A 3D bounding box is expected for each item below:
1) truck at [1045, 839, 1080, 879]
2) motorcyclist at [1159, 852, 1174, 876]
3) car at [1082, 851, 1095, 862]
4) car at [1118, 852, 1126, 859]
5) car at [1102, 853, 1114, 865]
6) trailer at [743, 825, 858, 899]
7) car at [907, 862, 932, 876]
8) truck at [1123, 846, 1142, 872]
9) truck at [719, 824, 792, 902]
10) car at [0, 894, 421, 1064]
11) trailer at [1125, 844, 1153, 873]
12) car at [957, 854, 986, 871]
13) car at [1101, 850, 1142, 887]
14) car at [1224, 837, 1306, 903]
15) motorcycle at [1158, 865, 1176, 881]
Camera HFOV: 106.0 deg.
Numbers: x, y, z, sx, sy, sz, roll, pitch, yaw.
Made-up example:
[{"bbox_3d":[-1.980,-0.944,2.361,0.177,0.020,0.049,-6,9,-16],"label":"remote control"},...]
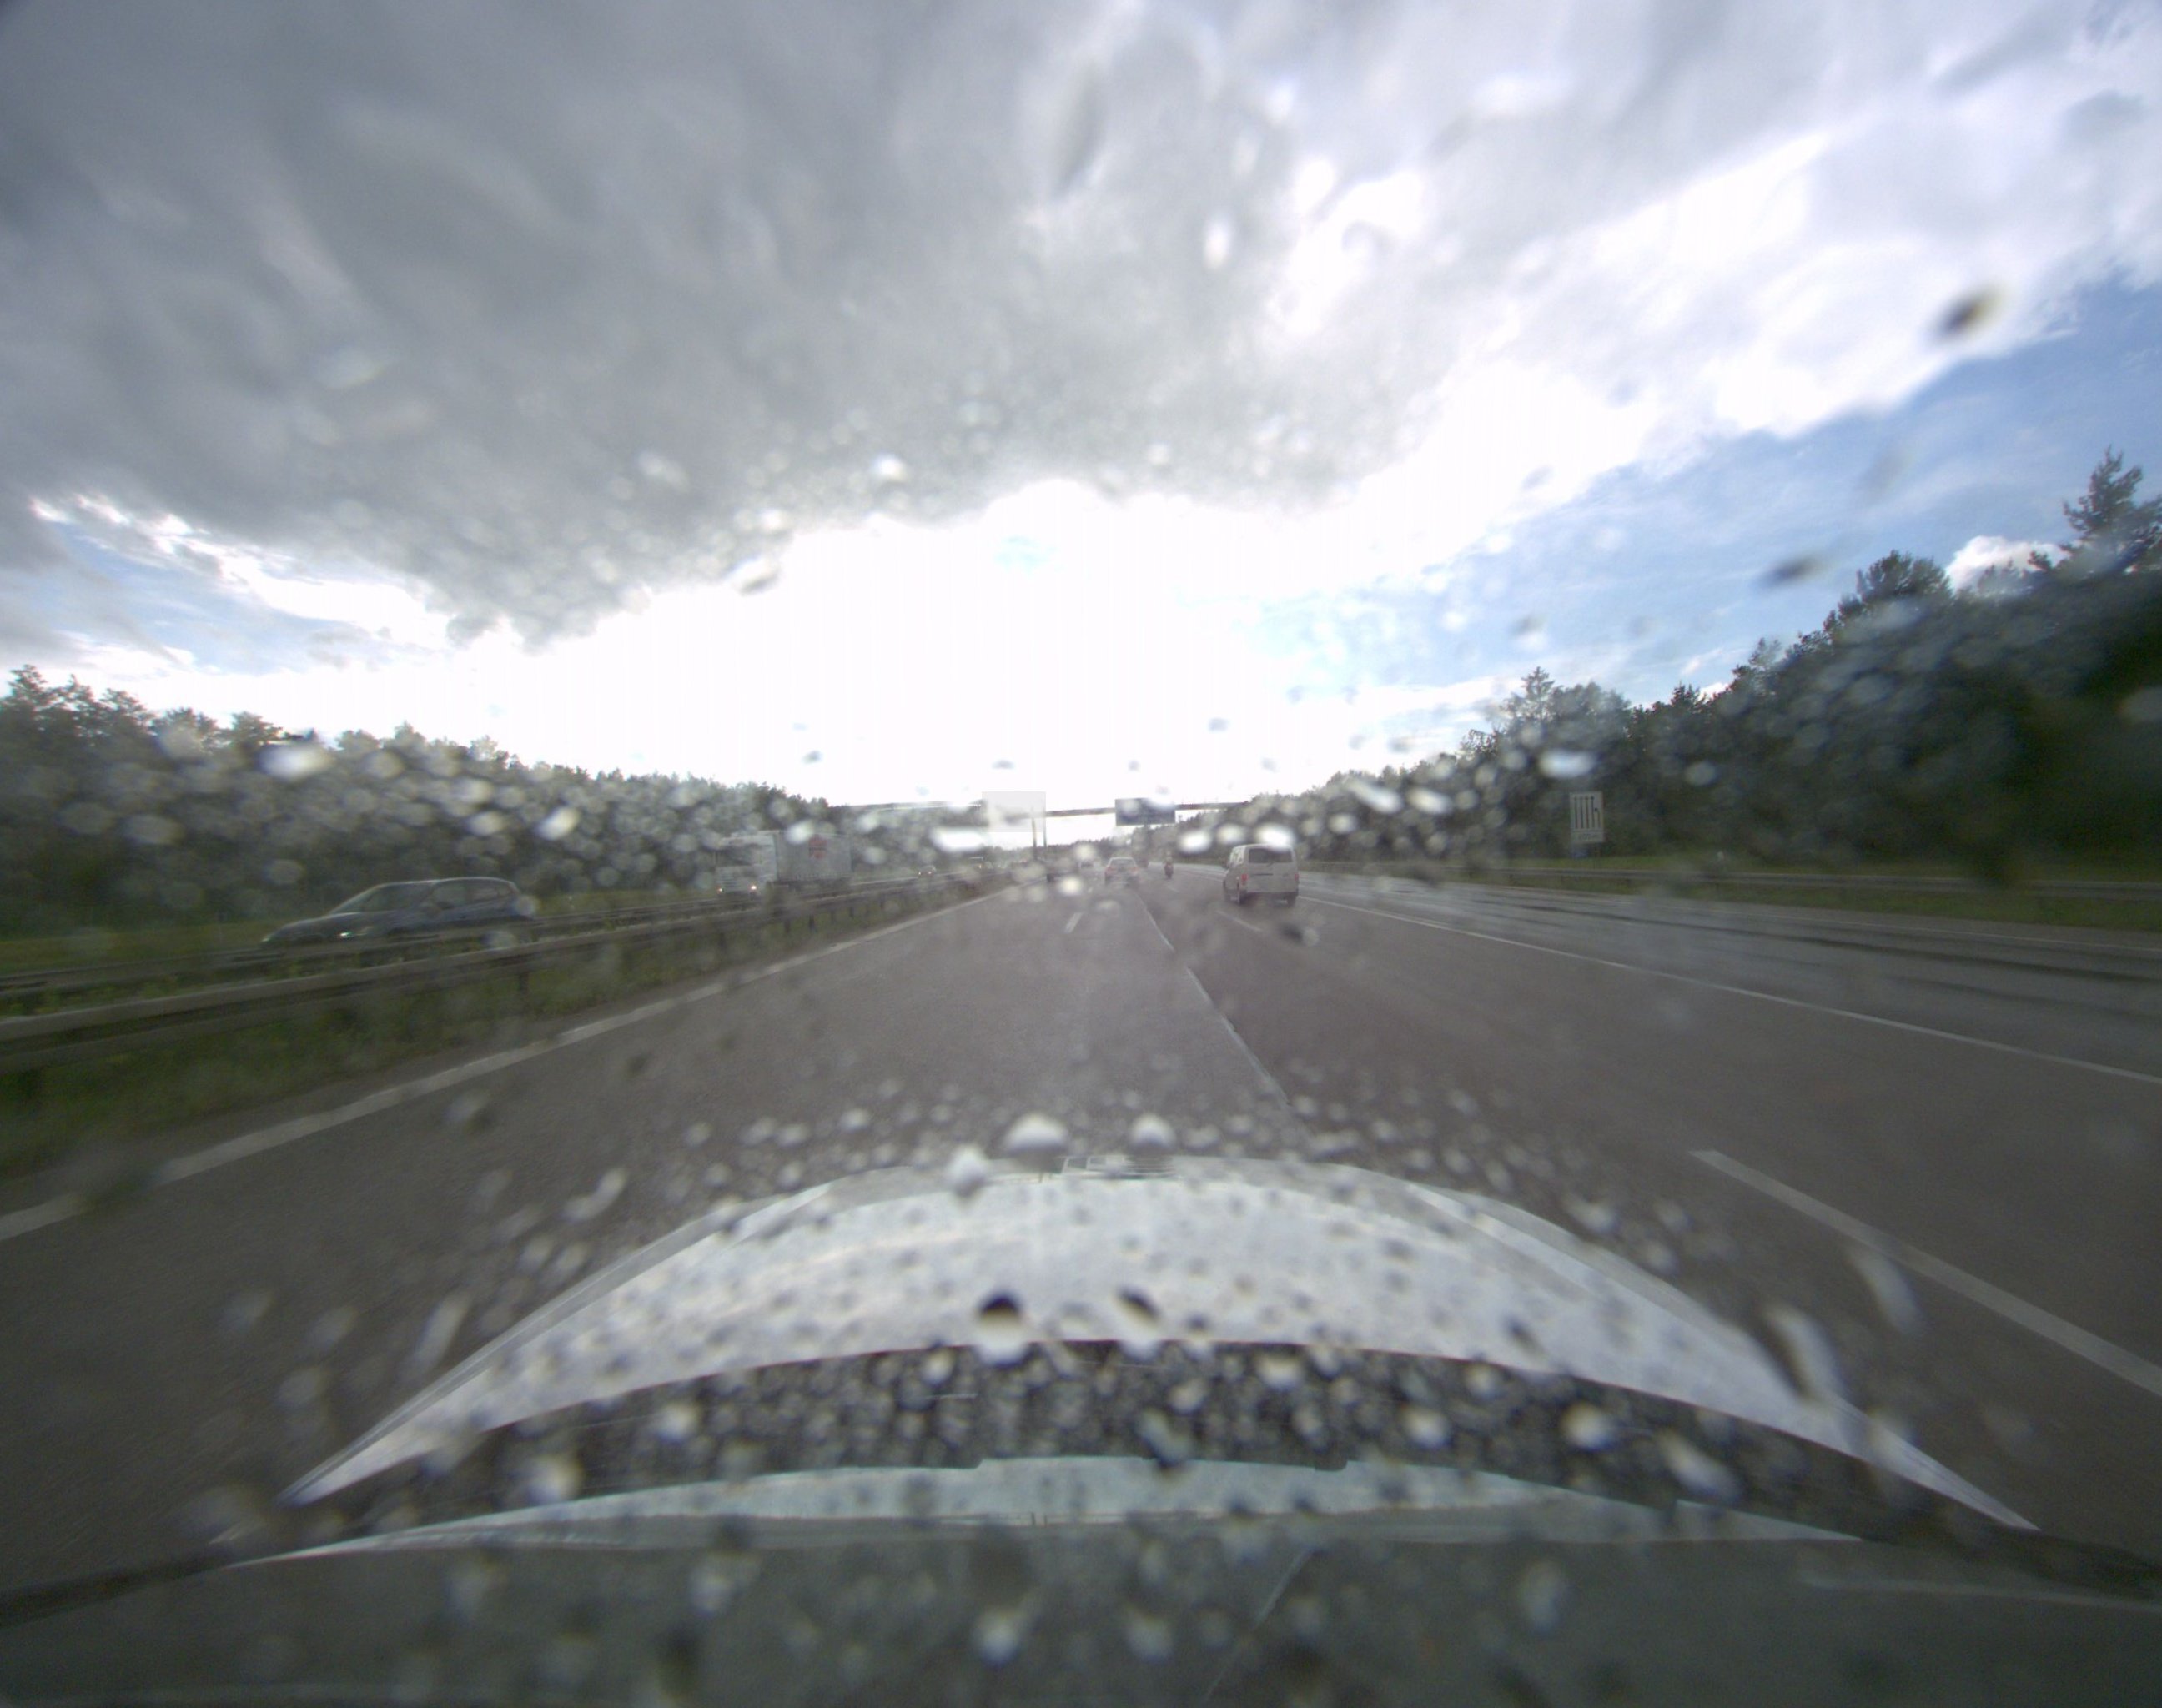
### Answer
[{"bbox_3d":[-1.209,0.315,53.682,2.131,2.489,5.310,-1,0,-1],"label":"truck"},{"bbox_3d":[5.831,0.690,55.395,0.888,1.615,0.959,-1,-1,0],"label":"motorcyclist"},{"bbox_3d":[1.163,0.399,118.423,1.825,1.466,4.000,-1,0,1],"label":"car"},{"bbox_3d":[10.636,0.403,212.303,1.987,2.014,3.999,0,0,0],"label":"car"},{"bbox_3d":[4.559,0.899,137.762,1.902,2.014,3.999,-1,0,-1],"label":"car"},{"bbox_3d":[-18.198,0.522,54.283,2.089,4.241,14.632,0,0,2],"label":"trailer"},{"bbox_3d":[-17.722,1.616,89.587,1.666,1.459,4.562,-2,0,1],"label":"car"},{"bbox_3d":[8.058,0.776,128.627,2.289,3.868,5.384,-1,-1,-4],"label":"truck"},{"bbox_3d":[-18.479,0.484,46.504,2.131,4.238,4.709,0,-1,2],"label":"truck"},{"bbox_3d":[-12.094,1.544,11.487,1.853,1.662,4.472,-2,0,0],"label":"car"},{"bbox_3d":[8.534,0.661,120.946,2.319,4.001,13.393,-1,-1,-4],"label":"trailer"},{"bbox_3d":[-13.750,1.059,102.550,2.274,2.013,6.744,0,0,3],"label":"car"},{"bbox_3d":[2.237,0.729,44.021,2.069,1.885,5.016,0,0,3],"label":"car"},{"bbox_3d":[5.701,0.465,25.811,1.954,1.902,4.889,0,0,6],"label":"car"},{"bbox_3d":[5.828,1.316,55.515,0.996,1.031,2.174,-1,0,1],"label":"motorcycle"}]
